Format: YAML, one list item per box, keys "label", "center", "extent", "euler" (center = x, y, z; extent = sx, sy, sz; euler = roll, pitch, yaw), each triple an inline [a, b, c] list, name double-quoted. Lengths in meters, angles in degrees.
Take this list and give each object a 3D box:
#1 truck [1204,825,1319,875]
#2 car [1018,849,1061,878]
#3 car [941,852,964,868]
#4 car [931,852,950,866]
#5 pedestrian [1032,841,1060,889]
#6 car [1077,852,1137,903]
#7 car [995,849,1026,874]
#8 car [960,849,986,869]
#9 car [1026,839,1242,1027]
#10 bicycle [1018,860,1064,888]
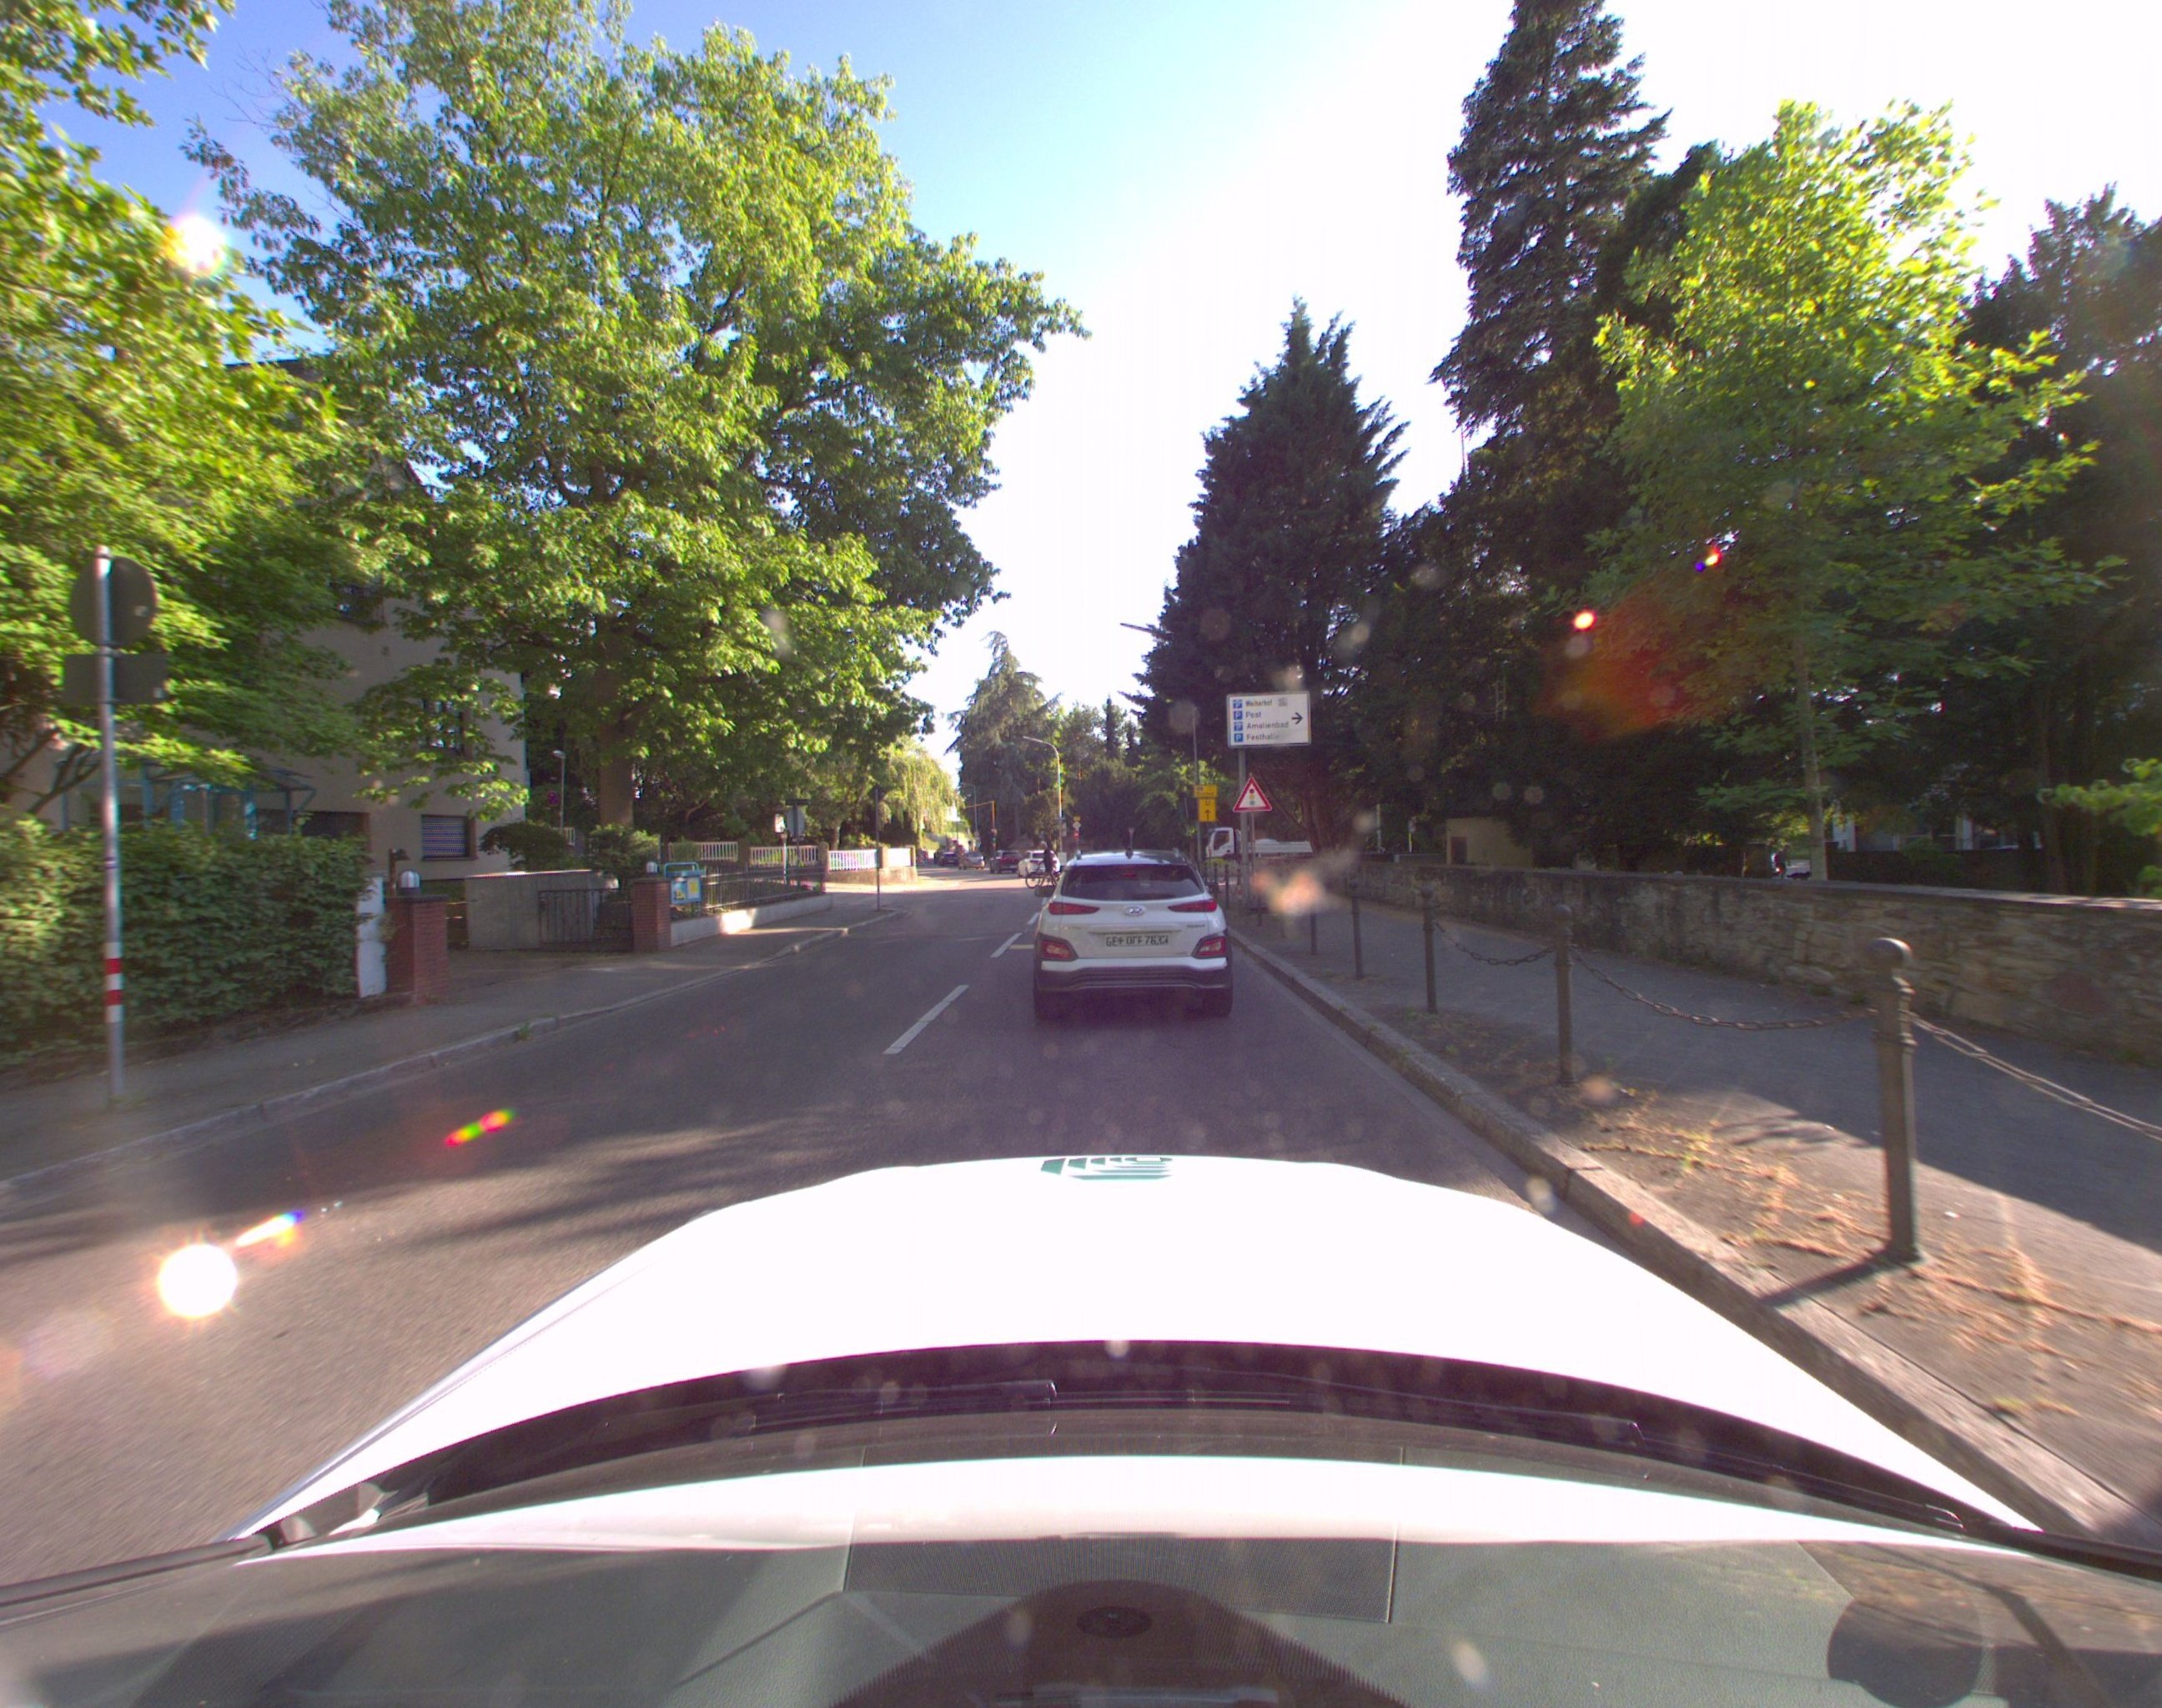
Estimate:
- label: "truck"
  center: [10.710, -0.223, 48.797]
  extent: [6.553, 2.895, 2.438]
  euler: [0, 0, 6]
- label: "car"
  center: [-2.358, 0.510, 45.404]
  extent: [1.807, 1.537, 3.984]
  euler: [0, 0, -12]
- label: "car"
  center: [-13.207, 0.604, 83.621]
  extent: [1.835, 1.662, 3.979]
  euler: [0, 0, -15]
- label: "car"
  center: [-16.735, 0.562, 96.737]
  extent: [1.836, 1.662, 3.978]
  euler: [0, 0, -17]
- label: "pedestrian"
  center: [-1.360, 0.417, 31.763]
  extent: [0.947, 1.826, 0.548]
  euler: [0, 2, -37]
- label: "car"
  center: [0.797, 0.666, 25.243]
  extent: [1.701, 1.434, 4.367]
  euler: [0, 0, 2]
- label: "car"
  center: [-4.907, 0.491, 56.308]
  extent: [1.831, 1.662, 3.987]
  euler: [0, 0, -10]
- label: "car"
  center: [-9.493, 0.432, 71.378]
  extent: [1.834, 1.740, 3.981]
  euler: [0, 0, -14]
- label: "car"
  center: [0.499, 0.660, 8.864]
  extent: [1.814, 1.574, 4.001]
  euler: [0, 0, 1]
- label: "bicycle"
  center: [-1.584, 0.776, 32.262]
  extent: [1.825, 1.043, 0.555]
  euler: [0, 2, -36]
